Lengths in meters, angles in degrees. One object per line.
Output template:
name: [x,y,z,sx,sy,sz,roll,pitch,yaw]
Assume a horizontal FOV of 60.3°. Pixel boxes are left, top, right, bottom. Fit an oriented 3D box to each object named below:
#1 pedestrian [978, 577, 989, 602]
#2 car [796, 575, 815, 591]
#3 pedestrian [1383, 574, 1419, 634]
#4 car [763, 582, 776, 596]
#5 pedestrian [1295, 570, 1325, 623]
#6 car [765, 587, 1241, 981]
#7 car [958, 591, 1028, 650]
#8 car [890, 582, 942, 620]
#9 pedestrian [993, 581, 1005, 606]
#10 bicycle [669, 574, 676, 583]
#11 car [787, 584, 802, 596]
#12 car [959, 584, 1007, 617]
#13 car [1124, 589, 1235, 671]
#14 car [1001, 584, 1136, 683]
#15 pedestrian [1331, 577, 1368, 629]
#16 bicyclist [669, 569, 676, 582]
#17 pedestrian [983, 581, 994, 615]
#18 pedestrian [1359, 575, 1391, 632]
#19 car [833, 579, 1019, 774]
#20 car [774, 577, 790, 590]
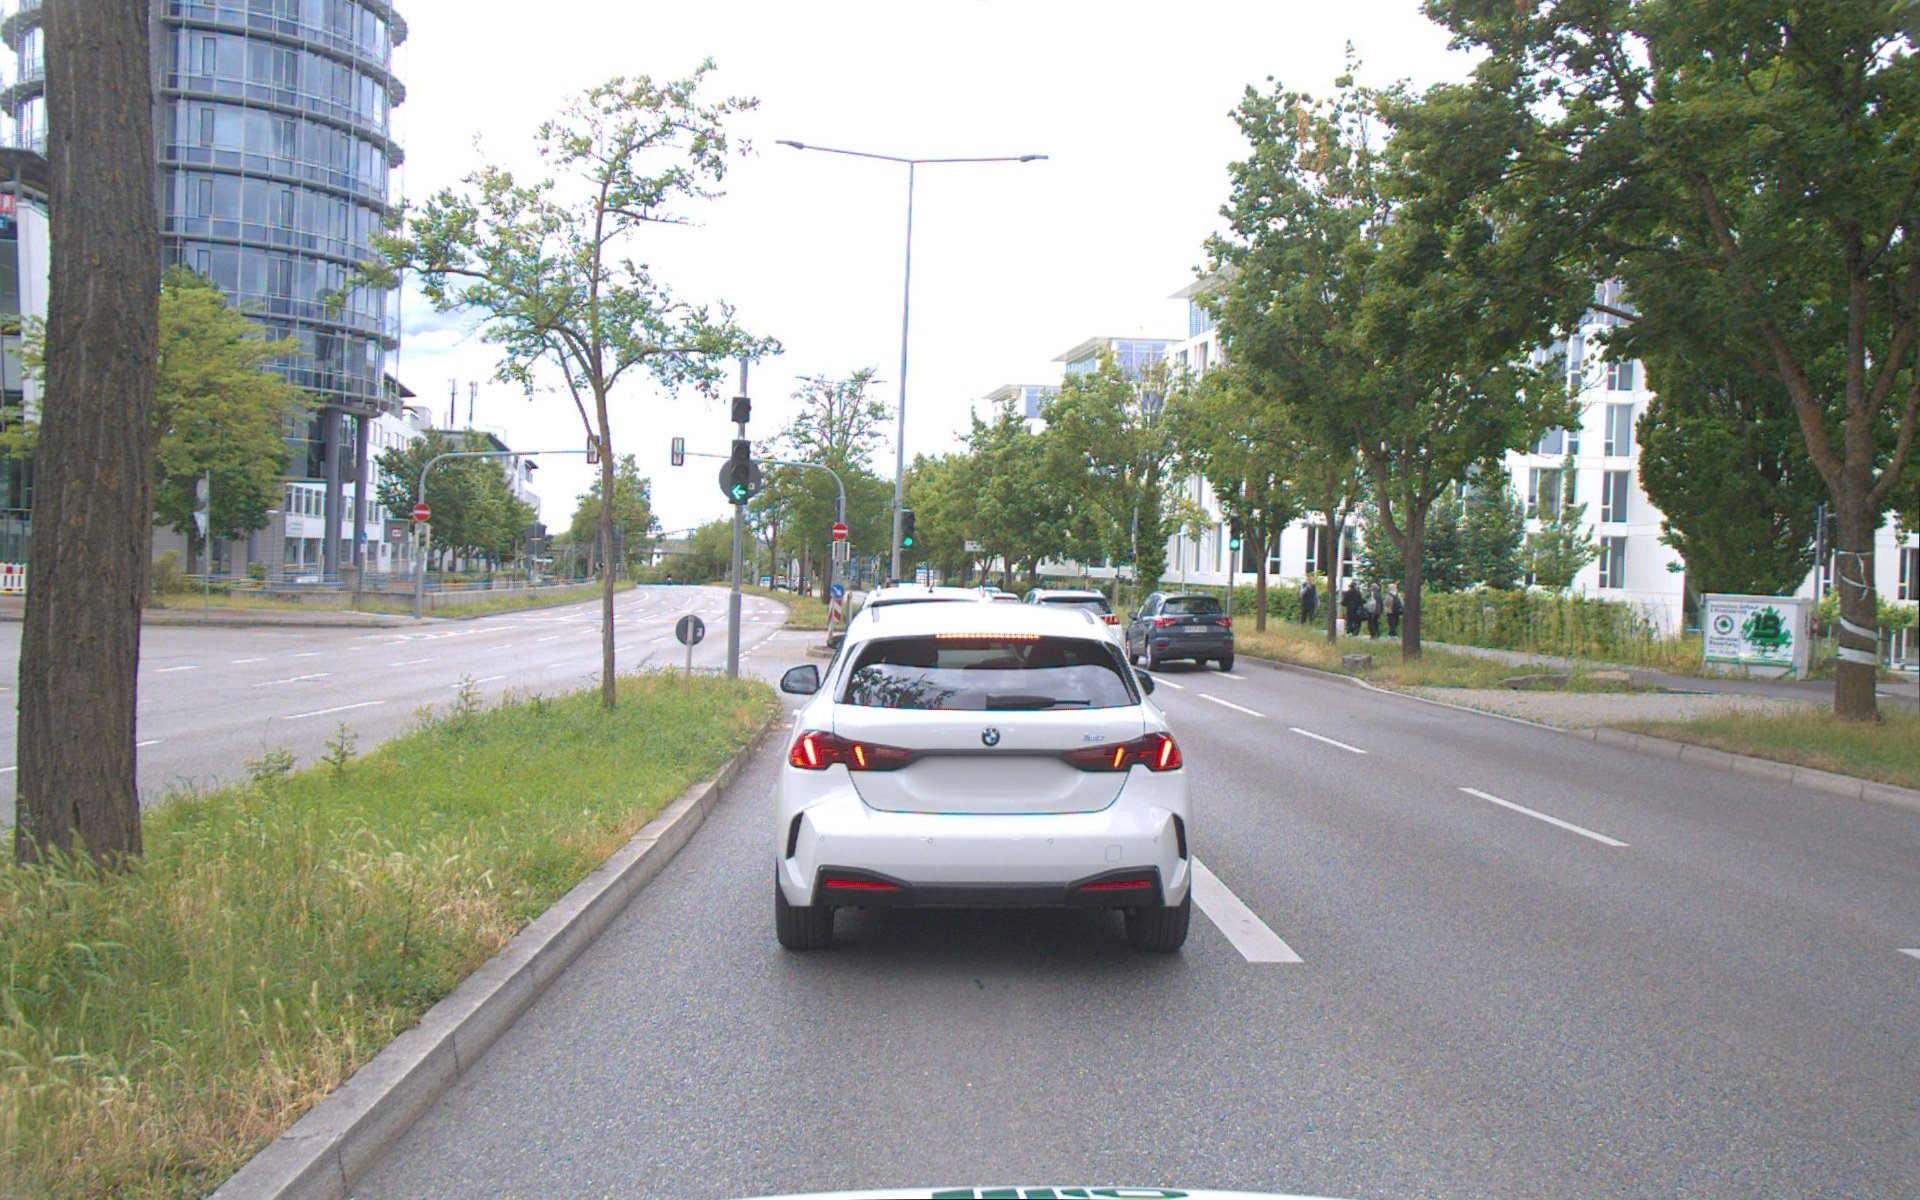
pedestrian: [1.961,-0.884,139.314,0.749,2.049,0.751,1,-1,-16]
car: [-17.658,-1.934,188.954,1.957,1.699,3.991,0,0,-10]
pedestrian: [12.840,0.117,48.163,0.751,1.715,0.883,1,-1,-2]
car: [-24.713,-1.472,214.203,1.663,1.747,3.994,1,0,-7]
pedestrian: [10.572,-0.106,49.932,0.726,1.601,0.674,1,-1,-2]
car: [0.140,0.696,8.316,1.785,1.463,3.999,1,0,-1]
car: [0.861,0.528,44.775,1.573,1.494,3.672,1,0,-4]
car: [-2.015,0.028,74.890,1.856,1.623,4.306,1,0,-8]
pedestrian: [3.230,-0.533,137.587,0.833,2.049,0.604,1,0,-11]
bicycle: [-37.624,-2.774,216.407,0.797,1.123,2.547,1,0,-14]
car: [-21.402,-1.263,214.076,1.661,1.512,3.686,1,0,-9]
car: [0.994,0.023,74.023,1.622,1.450,3.529,0,0,-8]
car: [4.424,0.568,33.819,1.624,1.539,3.999,1,0,-2]
car: [1.860,0.547,29.652,1.818,1.624,4.309,0,0,-5]
pedestrian: [11.350,0.092,48.246,0.773,1.473,1.111,1,0,-2]
bicyclist: [-37.625,-3.149,216.454,0.797,1.681,1.184,1,0,-15]
pedestrian: [2.320,-0.179,133.433,0.814,2.673,0.646,1,0,-1]
pedestrian: [12.065,0.104,48.114,0.685,1.623,0.883,1,-1,-2]
car: [-0.314,0.630,15.828,1.518,1.596,3.999,1,0,-1]
car: [-25.611,-2.394,237.751,1.957,1.763,3.991,1,0,-10]
